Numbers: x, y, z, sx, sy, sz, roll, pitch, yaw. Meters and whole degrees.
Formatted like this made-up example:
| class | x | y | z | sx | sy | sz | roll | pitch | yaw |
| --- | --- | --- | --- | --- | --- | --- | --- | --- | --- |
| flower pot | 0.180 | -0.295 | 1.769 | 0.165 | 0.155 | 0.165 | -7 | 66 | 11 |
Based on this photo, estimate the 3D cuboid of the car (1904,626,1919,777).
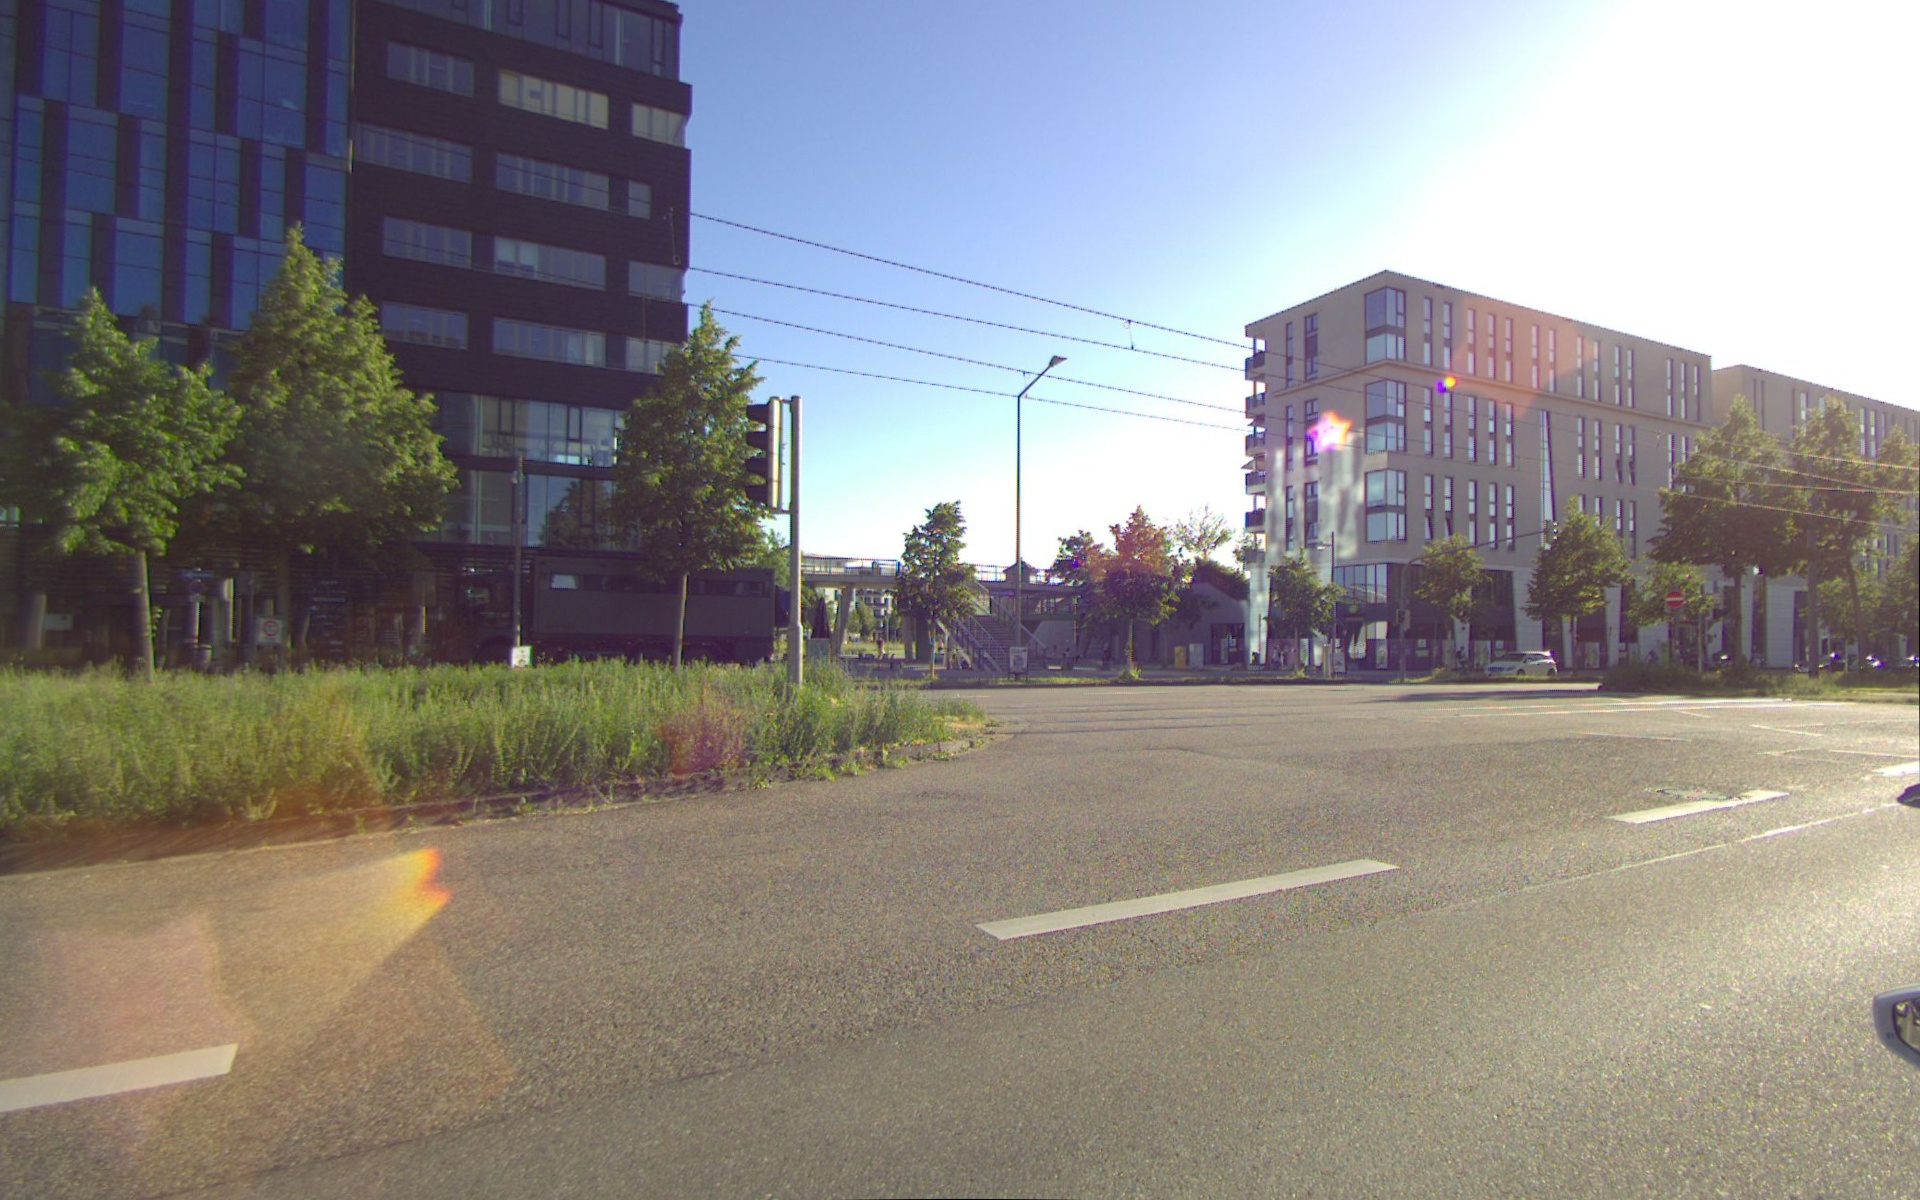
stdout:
| class | x | y | z | sx | sy | sz | roll | pitch | yaw |
| --- | --- | --- | --- | --- | --- | --- | --- | --- | --- |
| car | 11.954 | 1.080 | 10.725 | 4.068 | 1.547 | 1.798 | 2 | -2 | -33 |

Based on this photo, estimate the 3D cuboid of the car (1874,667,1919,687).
| class | x | y | z | sx | sy | sz | roll | pitch | yaw |
| --- | --- | --- | --- | --- | --- | --- | --- | --- | --- |
| car | 69.558 | 5.677 | 74.412 | 3.666 | 1.360 | 1.574 | 2 | -2 | -28 |

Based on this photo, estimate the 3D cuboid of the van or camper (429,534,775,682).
| class | x | y | z | sx | sy | sz | roll | pitch | yaw |
| --- | --- | --- | --- | --- | --- | --- | --- | --- | --- |
| van or camper | -11.314 | 0.428 | 32.412 | 10.098 | 4.247 | 2.744 | 2 | -2 | -27 |

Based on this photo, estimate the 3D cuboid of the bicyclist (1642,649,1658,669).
| class | x | y | z | sx | sy | sz | roll | pitch | yaw |
| --- | --- | --- | --- | --- | --- | --- | --- | --- | --- |
| bicyclist | 47.395 | 4.064 | 68.990 | 0.695 | 1.310 | 0.577 | 2 | -1 | -21 |

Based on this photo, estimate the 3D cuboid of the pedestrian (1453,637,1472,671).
| class | x | y | z | sx | sy | sz | roll | pitch | yaw |
| --- | --- | --- | --- | --- | --- | --- | --- | --- | --- |
| pedestrian | 27.550 | 2.950 | 55.090 | 0.791 | 1.836 | 0.576 | 2 | -1 | -31 |

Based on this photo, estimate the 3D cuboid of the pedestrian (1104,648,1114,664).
| class | x | y | z | sx | sy | sz | roll | pitch | yaw |
| --- | --- | --- | --- | --- | --- | --- | --- | --- | --- |
| pedestrian | 10.947 | 4.096 | 73.883 | 0.592 | 1.140 | 0.437 | 2 | -1 | -25 |

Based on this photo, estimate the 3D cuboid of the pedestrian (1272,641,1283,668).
| class | x | y | z | sx | sy | sz | roll | pitch | yaw |
| --- | --- | --- | --- | --- | --- | --- | --- | --- | --- |
| pedestrian | 20.794 | 3.566 | 65.792 | 0.589 | 1.794 | 0.672 | 1 | -1 | 27 |

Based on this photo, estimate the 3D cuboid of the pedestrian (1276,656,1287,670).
| class | x | y | z | sx | sy | sz | roll | pitch | yaw |
| --- | --- | --- | --- | --- | --- | --- | --- | --- | --- |
| pedestrian | 21.360 | 4.170 | 66.733 | 0.589 | 0.932 | 0.433 | 1 | -1 | 27 |

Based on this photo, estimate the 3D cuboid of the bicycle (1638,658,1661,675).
| class | x | y | z | sx | sy | sz | roll | pitch | yaw |
| --- | --- | --- | --- | --- | --- | --- | --- | --- | --- |
| bicycle | 47.344 | 4.587 | 68.968 | 1.614 | 1.125 | 0.527 | 2 | -1 | -22 |

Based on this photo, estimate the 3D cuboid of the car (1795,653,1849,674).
| class | x | y | z | sx | sy | sz | roll | pitch | yaw |
| --- | --- | --- | --- | --- | --- | --- | --- | --- | --- |
| car | 58.442 | 4.279 | 68.068 | 3.666 | 1.360 | 1.574 | 2 | -2 | -28 |

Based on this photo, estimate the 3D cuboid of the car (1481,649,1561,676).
| class | x | y | z | sx | sy | sz | roll | pitch | yaw |
| --- | --- | --- | --- | --- | --- | --- | --- | --- | --- |
| car | 29.789 | 3.300 | 53.324 | 4.416 | 1.360 | 1.574 | 2 | -2 | -28 |

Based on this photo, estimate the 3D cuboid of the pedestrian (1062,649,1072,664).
| class | x | y | z | sx | sy | sz | roll | pitch | yaw |
| --- | --- | --- | --- | --- | --- | --- | --- | --- | --- |
| pedestrian | 8.272 | 4.321 | 77.432 | 0.592 | 1.140 | 0.437 | 2 | -1 | -25 |
